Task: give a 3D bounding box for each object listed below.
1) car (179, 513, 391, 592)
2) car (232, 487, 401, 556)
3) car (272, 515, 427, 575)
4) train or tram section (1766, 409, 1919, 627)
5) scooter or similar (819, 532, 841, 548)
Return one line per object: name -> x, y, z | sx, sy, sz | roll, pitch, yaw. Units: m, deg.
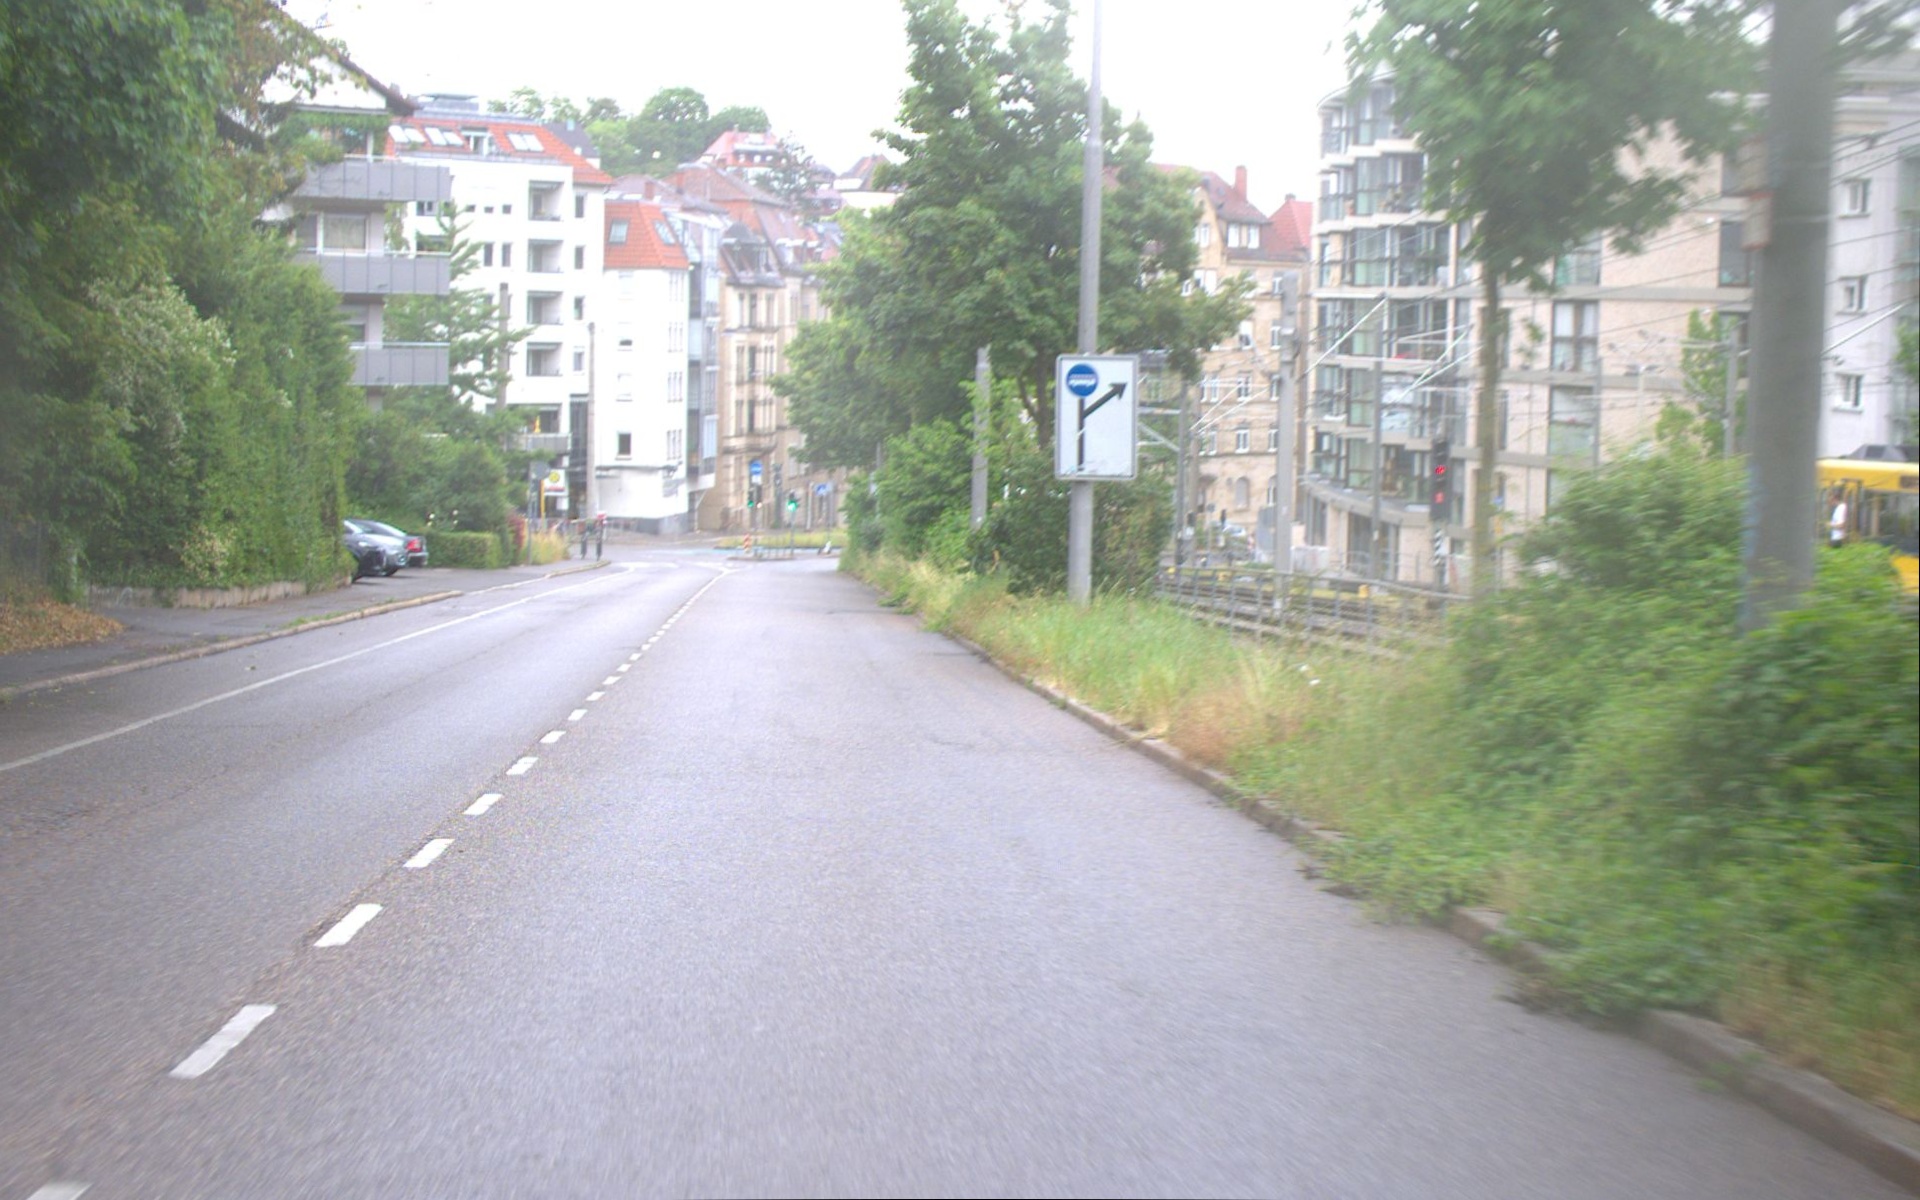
car -> -15.200, -1.082, 77.532 | 4.448, 1.597, 1.815 | 2, 2, -4
car -> -15.941, -1.946, 85.328 | 3.986, 1.554, 1.881 | 2, 0, -7
car -> -15.553, -1.403, 87.727 | 3.631, 1.402, 1.784 | 2, 0, -1
train or tram section -> 18.948, -1.430, 61.806 | 3.330, 3.934, 18.816 | 2, 1, -3
scooter or similar -> -6.115, -2.823, 161.713 | 0.485, 0.759, 1.328 | 2, 1, 25
